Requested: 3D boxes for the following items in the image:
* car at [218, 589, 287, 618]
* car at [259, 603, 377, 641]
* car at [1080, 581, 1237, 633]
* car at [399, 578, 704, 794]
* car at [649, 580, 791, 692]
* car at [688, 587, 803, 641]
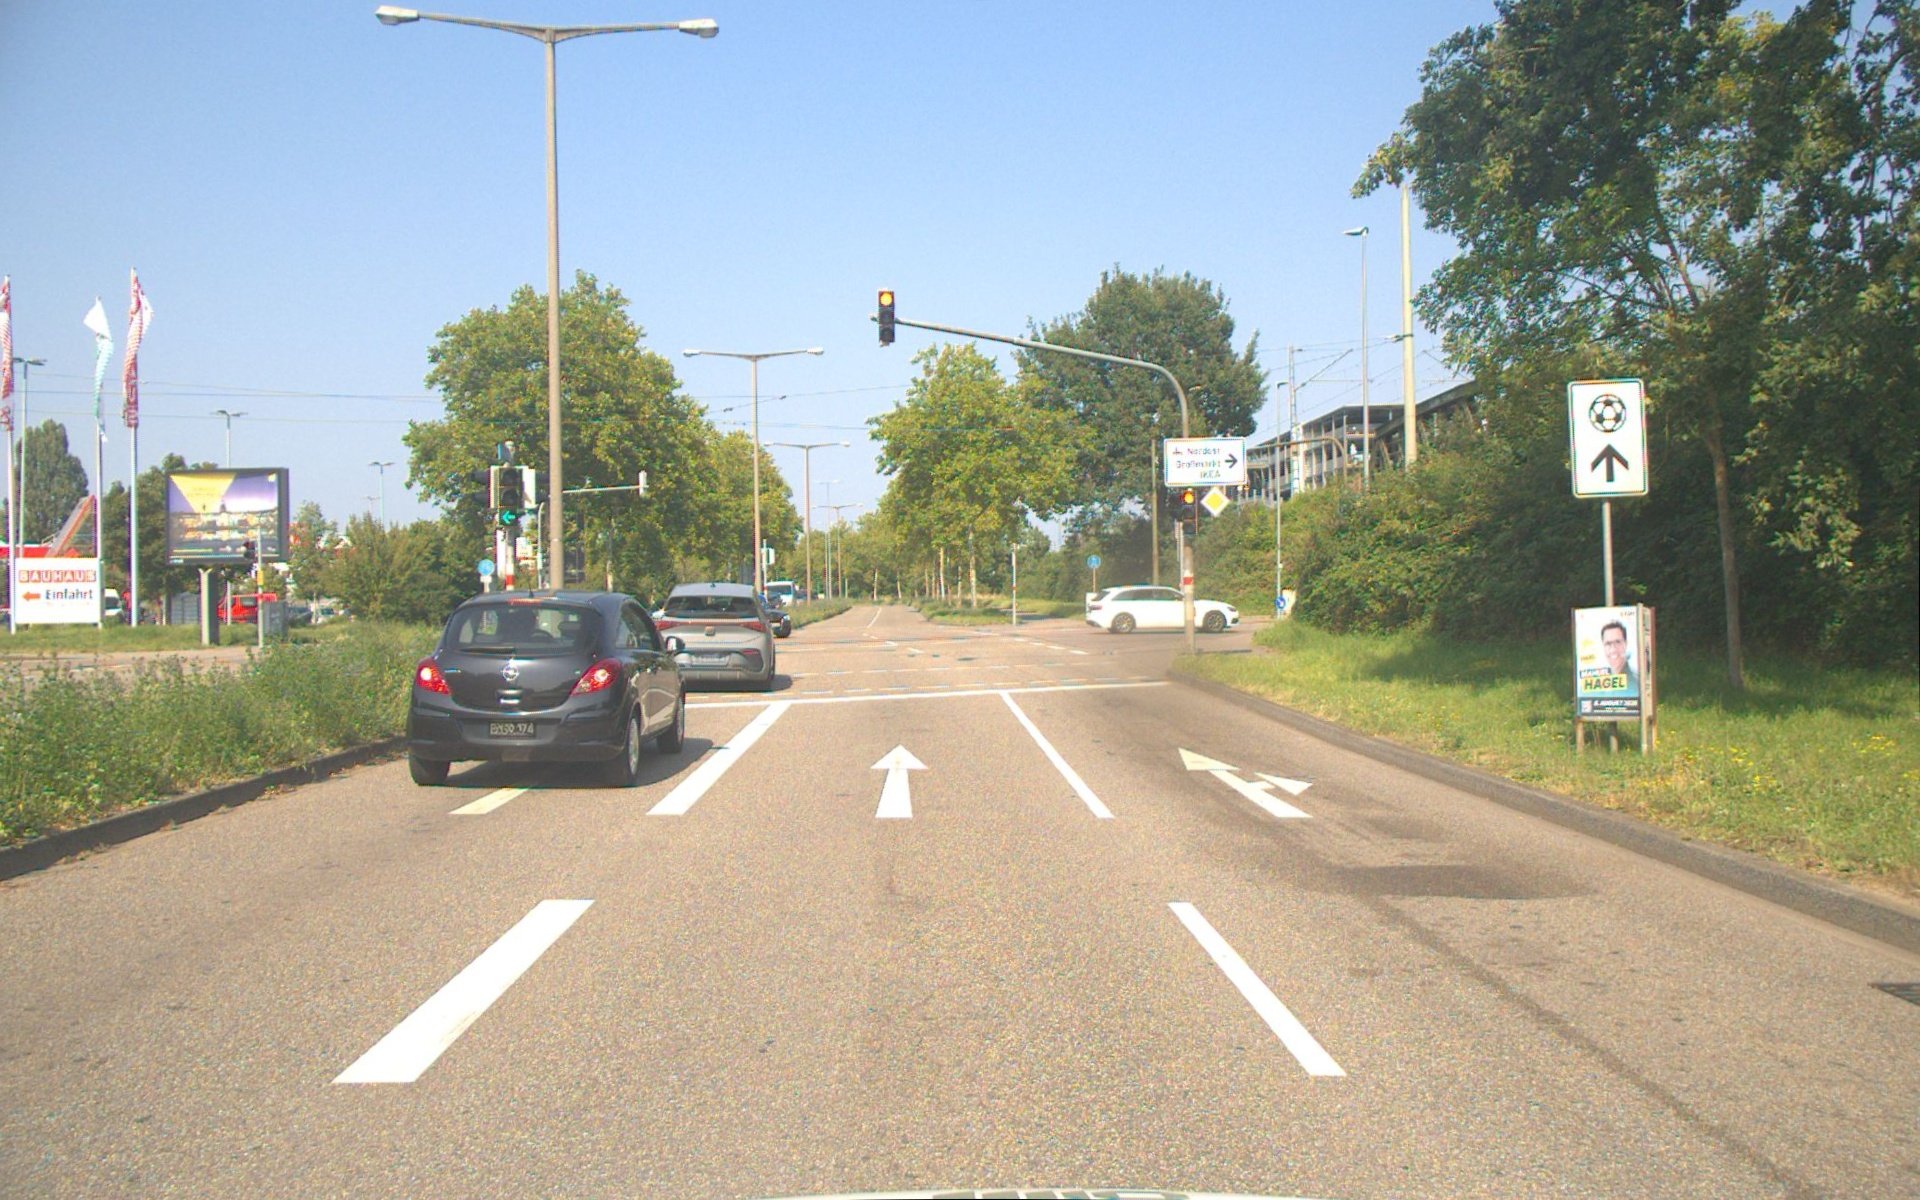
[{"bbox_3d":[-50.400,0.250,117.785,4.241,2.049,1.976,0,0,-35],"label":"car"},{"bbox_3d":[-21.184,0.731,54.636,3.303,1.156,1.494,-1,0,6],"label":"car"},{"bbox_3d":[6.034,0.207,50.525,4.520,1.512,1.695,0,0,-7],"label":"car"},{"bbox_3d":[-3.237,0.594,13.869,1.658,1.511,3.999,-1,1,-2],"label":"car"},{"bbox_3d":[-3.514,0.483,24.834,1.658,1.512,3.999,-1,0,-2],"label":"car"},{"bbox_3d":[-6.997,0.439,54.072,3.351,1.735,1.668,0,0,14],"label":"car"}]
